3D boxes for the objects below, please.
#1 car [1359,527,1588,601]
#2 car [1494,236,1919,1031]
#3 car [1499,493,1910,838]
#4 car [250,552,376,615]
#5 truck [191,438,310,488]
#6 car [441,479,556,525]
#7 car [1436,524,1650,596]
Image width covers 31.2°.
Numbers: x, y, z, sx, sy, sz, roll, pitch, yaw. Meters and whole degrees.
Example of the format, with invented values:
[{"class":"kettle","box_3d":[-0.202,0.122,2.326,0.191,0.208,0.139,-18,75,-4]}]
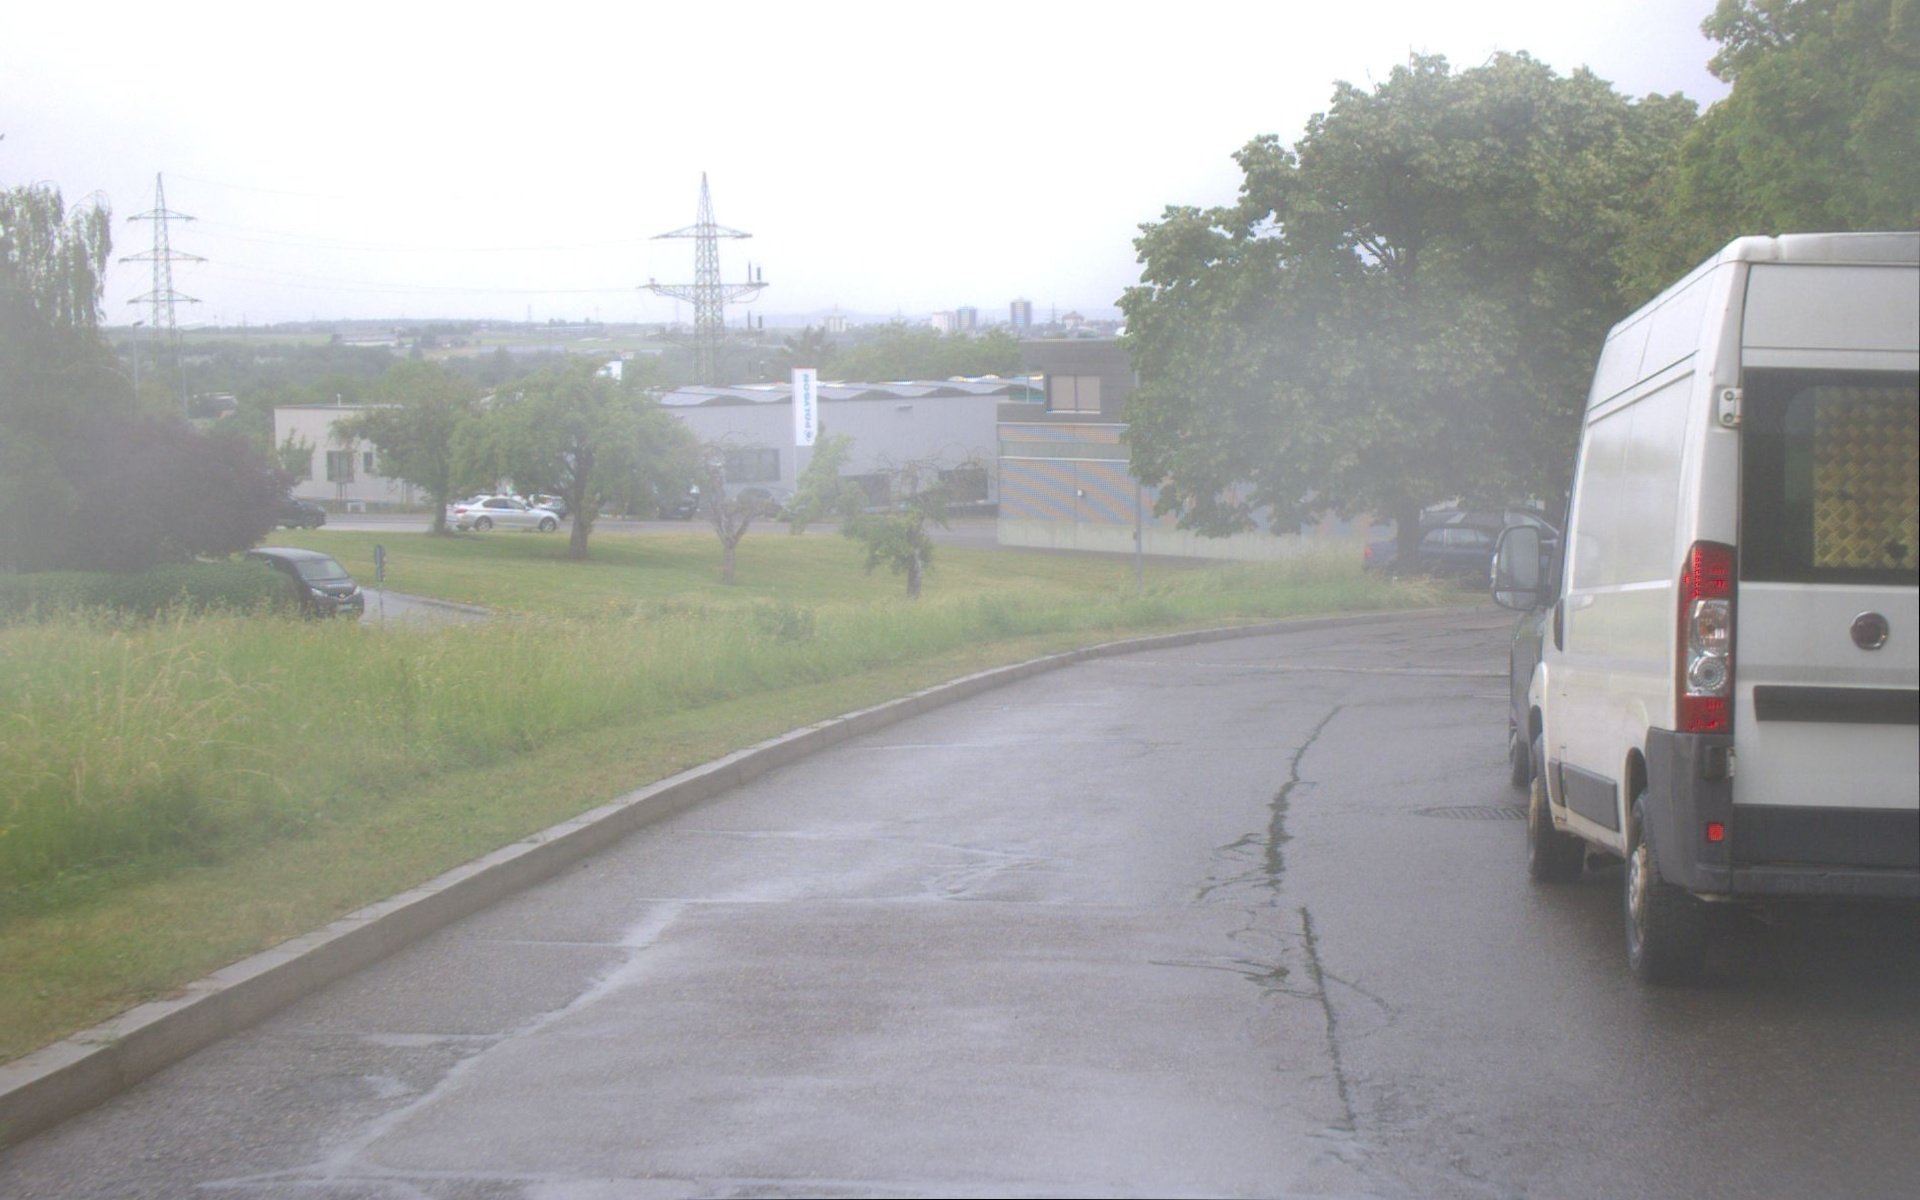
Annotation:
[{"class":"car","box_3d":[10.176,-0.723,68.055,4.169,1.350,1.860,-1,1,20]},{"class":"car","box_3d":[3.413,0.048,13.363,2.118,2.459,5.509,0,1,3]},{"class":"car","box_3d":[4.054,0.250,19.391,1.809,1.697,4.598,1,2,7]},{"class":"car","box_3d":[-18.022,-0.479,95.646,1.776,1.591,3.999,-2,3,-38]},{"class":"truck","box_3d":[-35.616,-6.870,172.563,5.311,2.301,2.435,0,4,-33]},{"class":"car","box_3d":[-18.847,-4.006,140.393,4.262,1.696,1.797,1,4,-33]},{"class":"car","box_3d":[11.880,-0.807,70.010,3.991,1.356,1.852,-1,1,20]}]
